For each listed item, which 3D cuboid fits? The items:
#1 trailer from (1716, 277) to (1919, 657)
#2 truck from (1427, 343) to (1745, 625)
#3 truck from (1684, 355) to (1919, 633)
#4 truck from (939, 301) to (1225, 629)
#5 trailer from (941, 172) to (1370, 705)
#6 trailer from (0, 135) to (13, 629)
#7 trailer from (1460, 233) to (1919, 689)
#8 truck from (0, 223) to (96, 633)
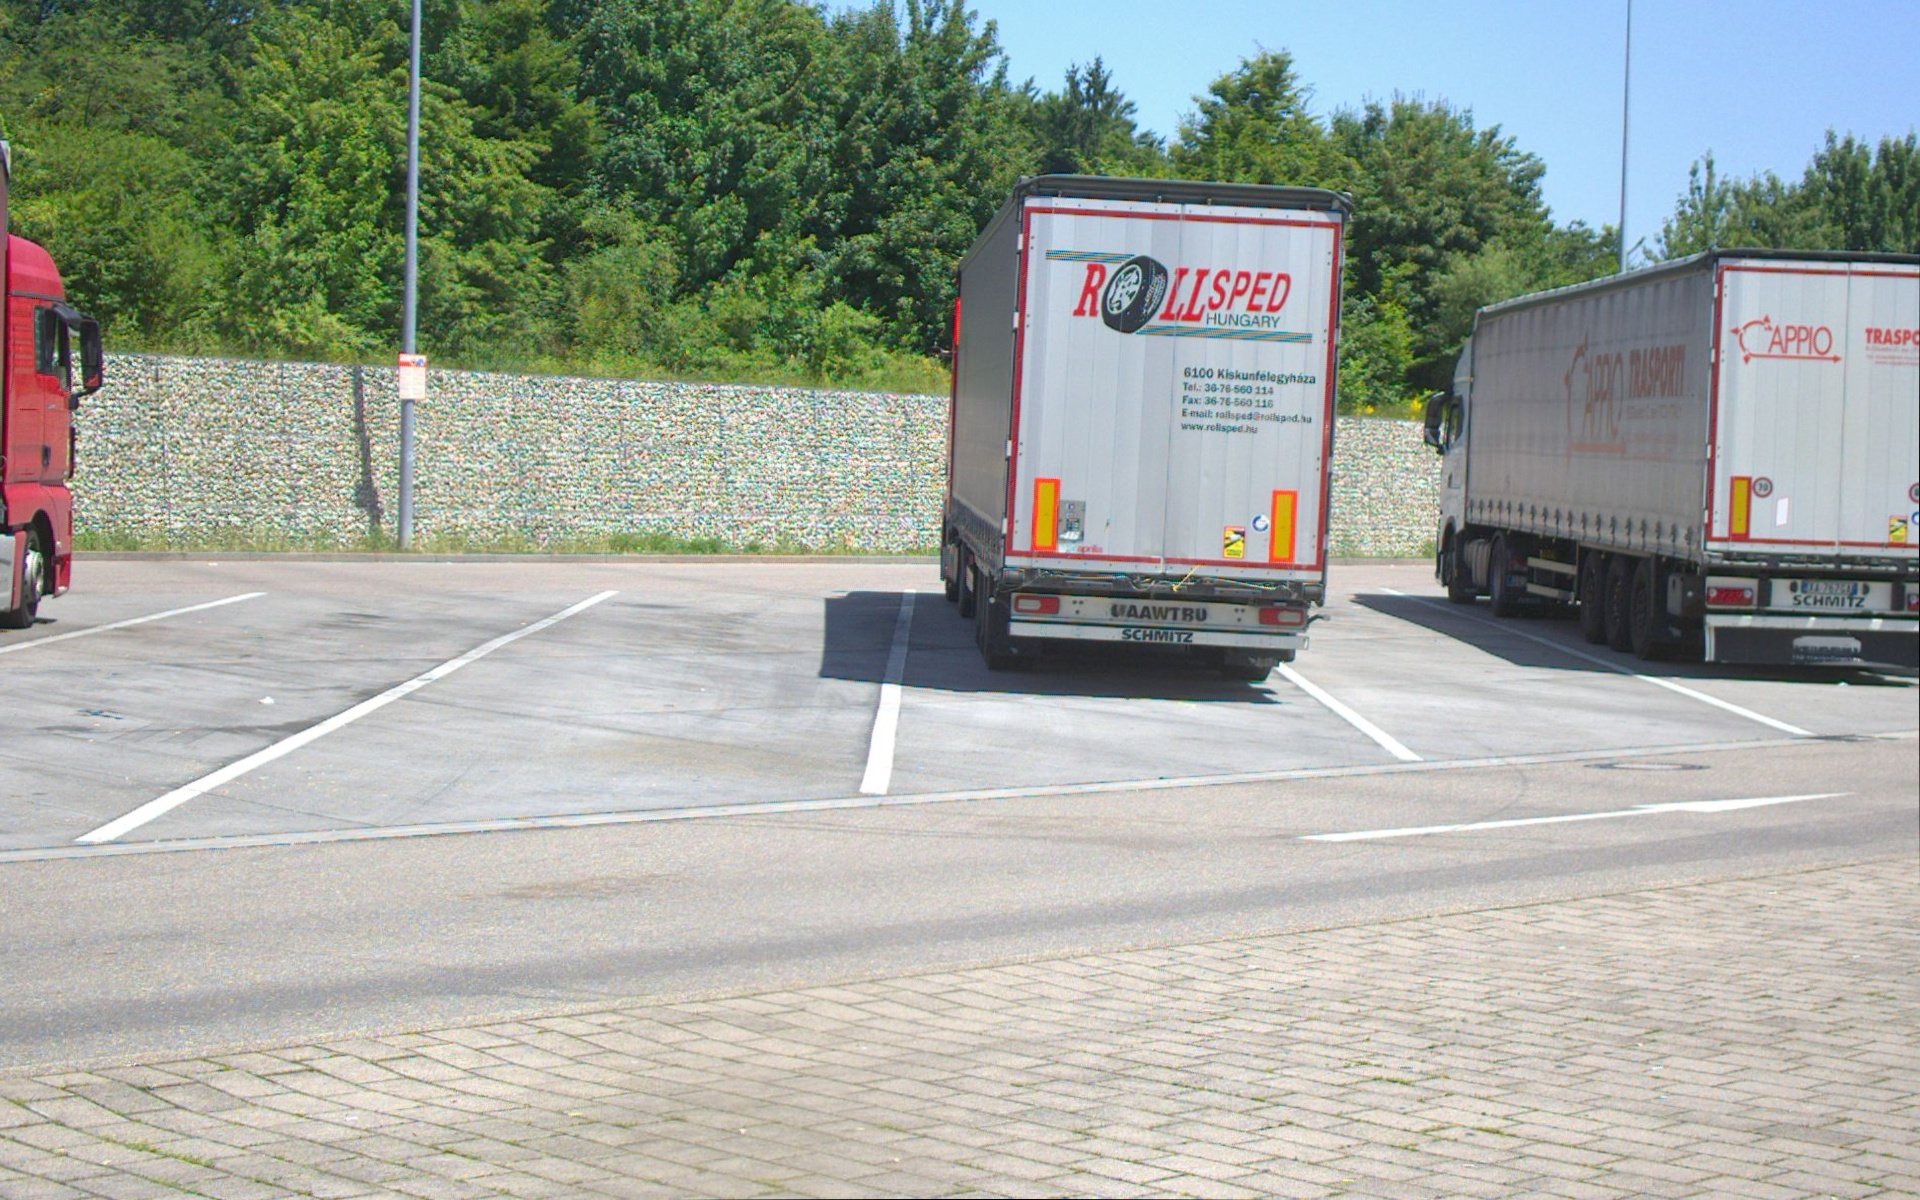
[{"bbox_3d":[11.779,-1.504,39.373,2.858,4.095,13.765,2,3,-1],"label":"trailer"},{"bbox_3d":[8.079,-1.567,45.127,2.865,3.351,5.975,2,3,-1],"label":"truck"},{"bbox_3d":[11.685,-1.421,45.203,2.865,3.351,5.975,2,3,-1],"label":"truck"},{"bbox_3d":[1.269,-1.570,39.308,2.865,3.351,5.975,2,3,-1],"label":"truck"},{"bbox_3d":[1.453,-1.566,33.106,2.858,3.958,13.765,2,3,-1],"label":"trailer"},{"bbox_3d":[-9.169,-1.462,21.364,2.821,4.057,13.765,2,3,-1],"label":"trailer"},{"bbox_3d":[8.181,-1.587,38.361,2.858,4.095,13.765,2,3,-1],"label":"trailer"},{"bbox_3d":[-9.258,-1.452,28.184,2.812,3.351,5.975,2,3,-1],"label":"truck"}]
